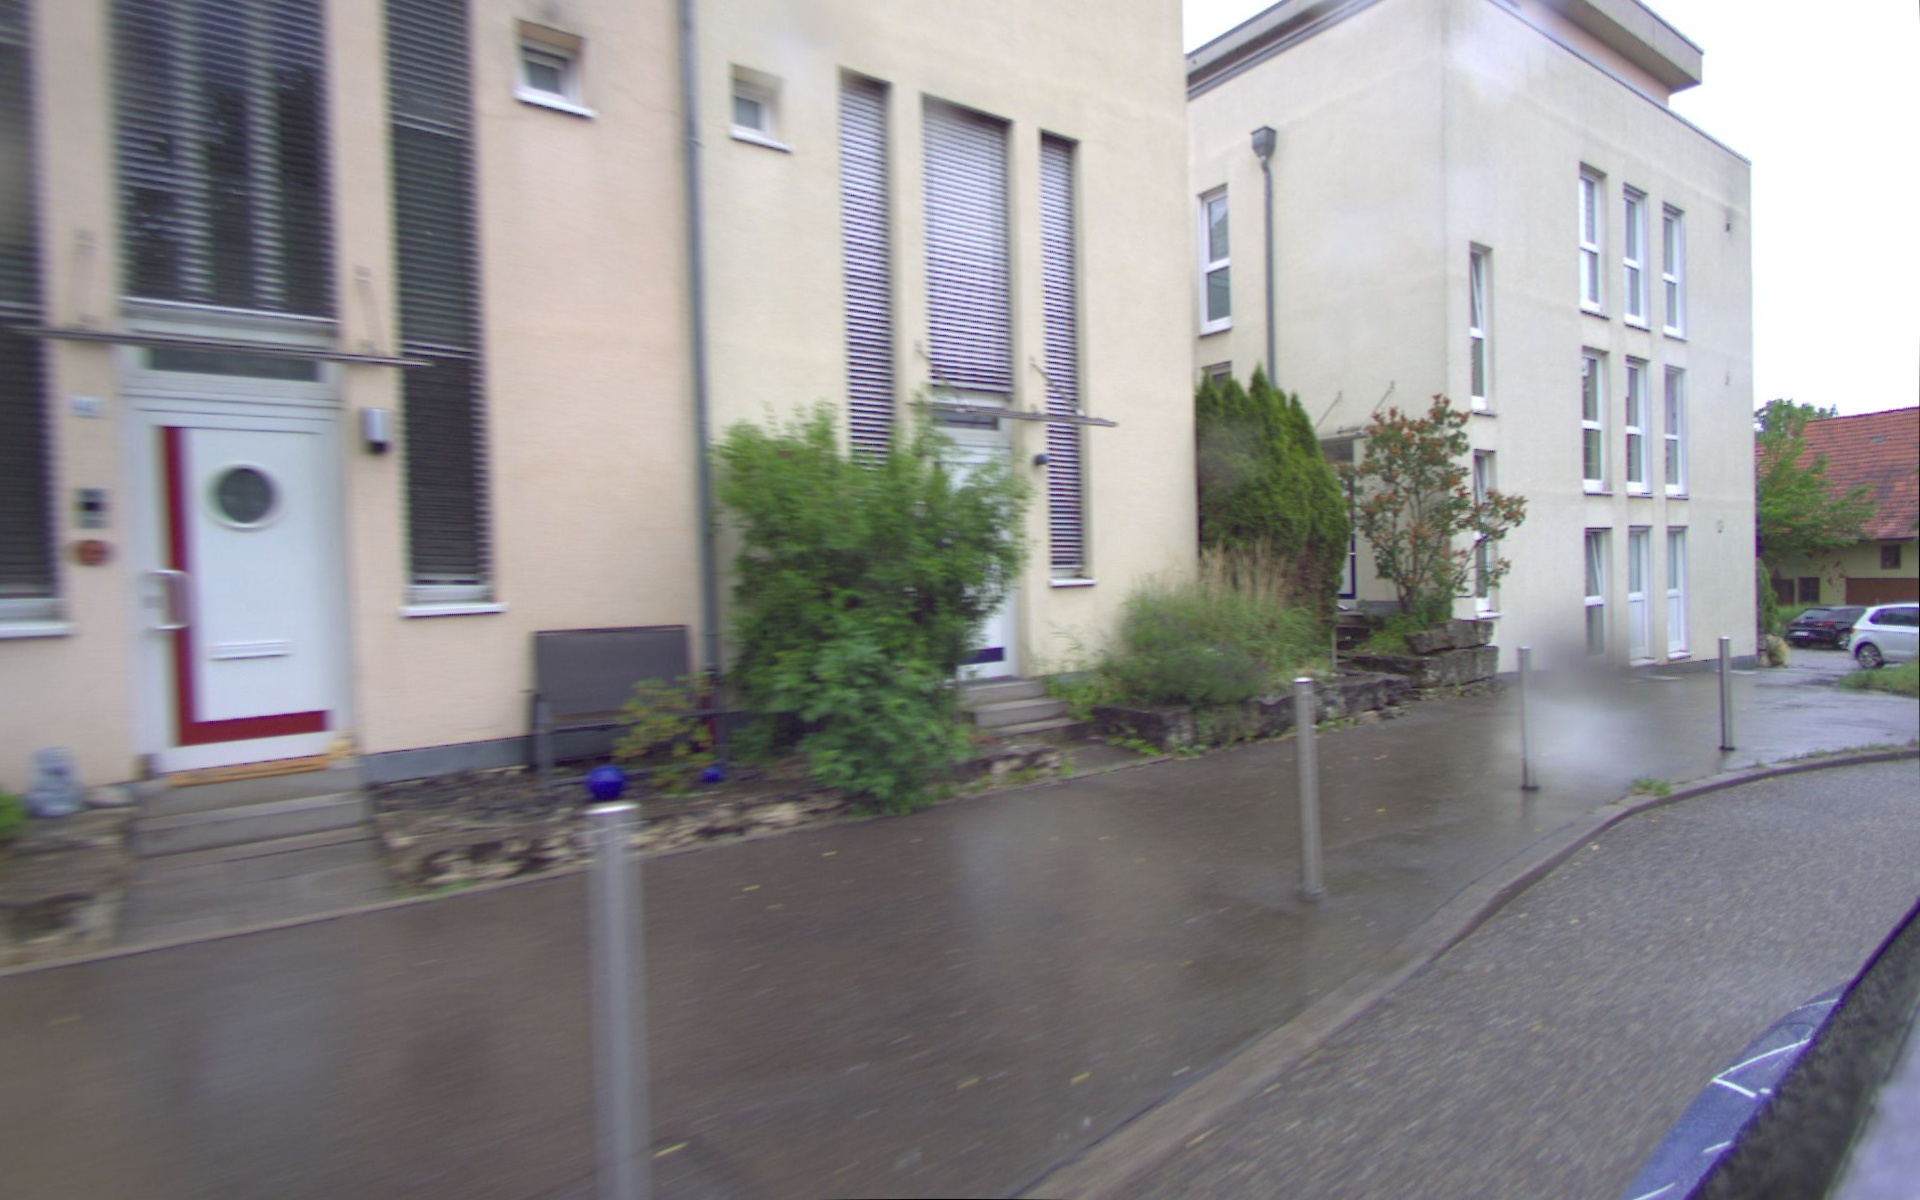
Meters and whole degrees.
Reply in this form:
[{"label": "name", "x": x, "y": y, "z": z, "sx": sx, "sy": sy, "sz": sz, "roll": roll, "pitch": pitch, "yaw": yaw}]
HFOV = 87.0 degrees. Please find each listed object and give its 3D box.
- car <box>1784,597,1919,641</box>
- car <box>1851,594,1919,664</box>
[{"label": "car", "x": 29.978, "y": 0.608, "z": 33.553, "sx": 3.919, "sy": 1.393, "sz": 1.882, "roll": 0, "pitch": 0, "yaw": -6}, {"label": "car", "x": 22.466, "y": 0.660, "z": 22.347, "sx": 1.723, "sy": 1.555, "sz": 4.153, "roll": -1, "pitch": 1, "yaw": -4}]
